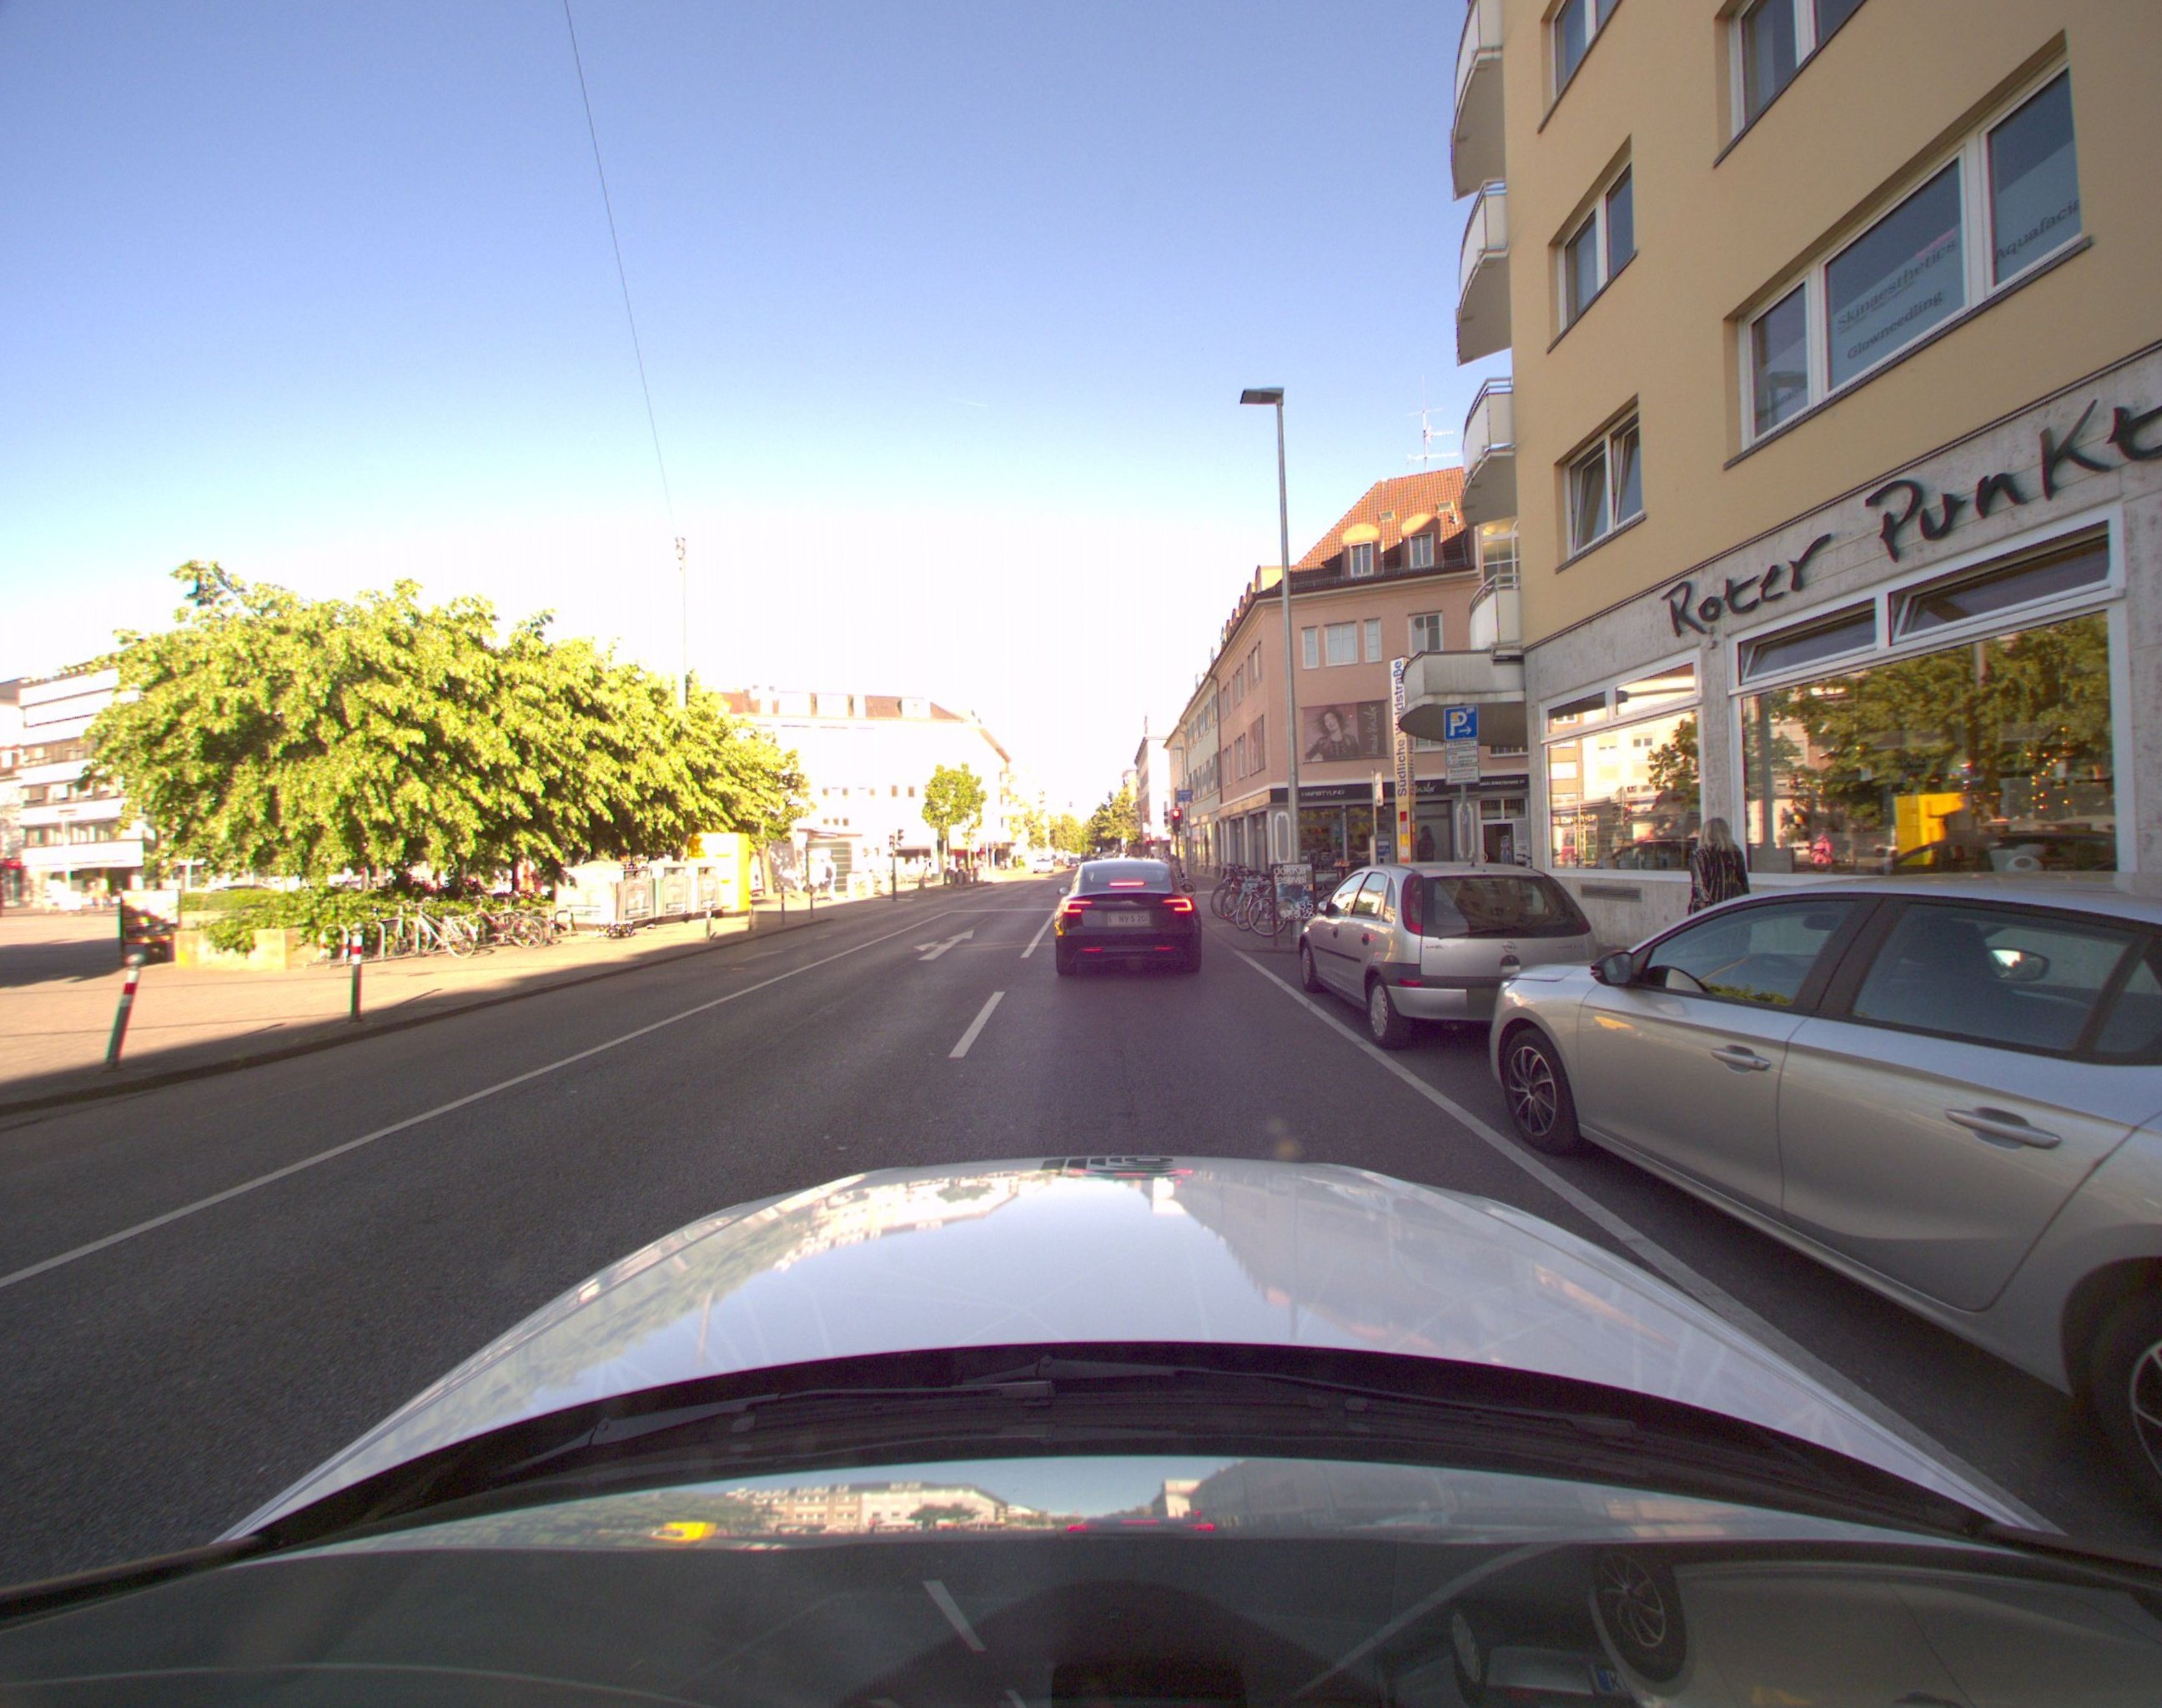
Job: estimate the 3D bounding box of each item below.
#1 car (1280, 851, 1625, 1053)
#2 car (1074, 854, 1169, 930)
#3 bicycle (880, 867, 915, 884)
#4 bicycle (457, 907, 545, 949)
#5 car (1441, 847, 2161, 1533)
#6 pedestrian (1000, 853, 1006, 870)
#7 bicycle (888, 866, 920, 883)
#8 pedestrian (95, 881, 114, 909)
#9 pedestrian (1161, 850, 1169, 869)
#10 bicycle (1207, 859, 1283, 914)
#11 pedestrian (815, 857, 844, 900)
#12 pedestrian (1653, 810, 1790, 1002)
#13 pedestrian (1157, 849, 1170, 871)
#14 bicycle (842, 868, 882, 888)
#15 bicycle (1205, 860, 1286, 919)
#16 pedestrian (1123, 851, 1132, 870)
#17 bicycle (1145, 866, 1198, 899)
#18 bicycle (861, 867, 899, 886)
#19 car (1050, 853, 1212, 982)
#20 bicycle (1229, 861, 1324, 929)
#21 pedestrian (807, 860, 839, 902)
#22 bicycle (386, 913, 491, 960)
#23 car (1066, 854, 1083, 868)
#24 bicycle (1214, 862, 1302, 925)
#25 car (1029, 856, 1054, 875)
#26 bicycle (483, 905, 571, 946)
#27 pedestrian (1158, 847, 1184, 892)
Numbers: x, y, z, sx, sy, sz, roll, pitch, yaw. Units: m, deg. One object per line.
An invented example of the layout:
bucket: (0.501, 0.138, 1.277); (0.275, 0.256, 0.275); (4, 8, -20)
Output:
car: (3.089, 0.696, 7.684); (1.615, 1.394, 3.888); (-1, 0, 3)
car: (0.894, 0.746, 17.931); (1.842, 1.455, 3.788); (-1, 0, 3)
bicycle: (-12.267, 1.428, 54.447); (2.074, 1.104, 0.806); (-1, 0, 1)
bicycle: (-11.242, 1.431, 15.793); (1.465, 0.769, 0.442); (-1, -1, 6)
car: (3.089, 0.705, 3.018); (1.665, 1.427, 4.076); (-1, 0, -1)
pedestrian: (-9.571, 0.891, 100.281); (0.623, 2.013, 0.575); (-1, 0, 1)
bicycle: (-12.305, 1.398, 56.644); (2.074, 1.104, 0.806); (-1, 0, 1)
pedestrian: (-63.539, 2.665, 52.981); (0.576, 1.792, 0.604); (-1, -1, 19)
pedestrian: (8.904, 0.625, 86.362); (0.620, 2.013, 0.562); (-1, 0, 26)
bicycle: (3.770, 0.752, 18.793); (1.621, 1.160, 0.433); (-3, 0, 2)
pedestrian: (-10.251, 0.990, 33.223); (0.897, 1.725, 0.745); (-1, 0, 5)
pedestrian: (5.786, 0.455, 7.396); (0.659, 1.633, 0.629); (-4, -1, 6)
pedestrian: (6.892, 0.497, 68.003); (0.995, 1.850, 0.615); (-1, 0, 1)
bicycle: (-12.650, 1.403, 47.157); (2.074, 1.104, 0.806); (-1, 0, 1)
bicycle: (3.566, 0.766, 17.688); (1.622, 1.160, 0.433); (-3, 0, 0)
pedestrian: (5.122, 0.698, 89.766); (0.754, 2.013, 0.792); (-1, 0, -24)
bicycle: (2.921, 0.913, 26.286); (1.604, 1.045, 0.593); (-1, -1, 14)
bicycle: (-12.228, 1.391, 49.668); (2.074, 1.104, 0.806); (-1, 0, 1)
car: (0.664, 0.737, 11.263); (1.842, 1.455, 3.788); (-1, 0, 3)
bicycle: (3.630, 0.749, 15.192); (1.622, 1.160, 0.433); (-3, 0, 0)
pedestrian: (-10.313, 1.059, 32.524); (0.981, 1.636, 0.738); (-1, 0, 5)
bicycle: (-11.349, 1.443, 14.395); (1.645, 0.769, 0.476); (-1, -1, 10)
car: (-0.808, 0.836, 101.462); (2.043, 1.727, 4.654); (-1, 0, 1)
bicycle: (3.556, 0.780, 16.390); (1.622, 1.160, 0.433); (-3, 0, 0)
car: (-3.757, 1.097, 78.945); (1.986, 1.541, 4.002); (-5, 0, 2)
bicycle: (-11.107, 1.432, 16.345); (1.466, 0.769, 0.475); (-1, -1, 4)
pedestrian: (2.918, 0.509, 26.283); (0.738, 1.440, 0.584); (-1, -1, 14)
